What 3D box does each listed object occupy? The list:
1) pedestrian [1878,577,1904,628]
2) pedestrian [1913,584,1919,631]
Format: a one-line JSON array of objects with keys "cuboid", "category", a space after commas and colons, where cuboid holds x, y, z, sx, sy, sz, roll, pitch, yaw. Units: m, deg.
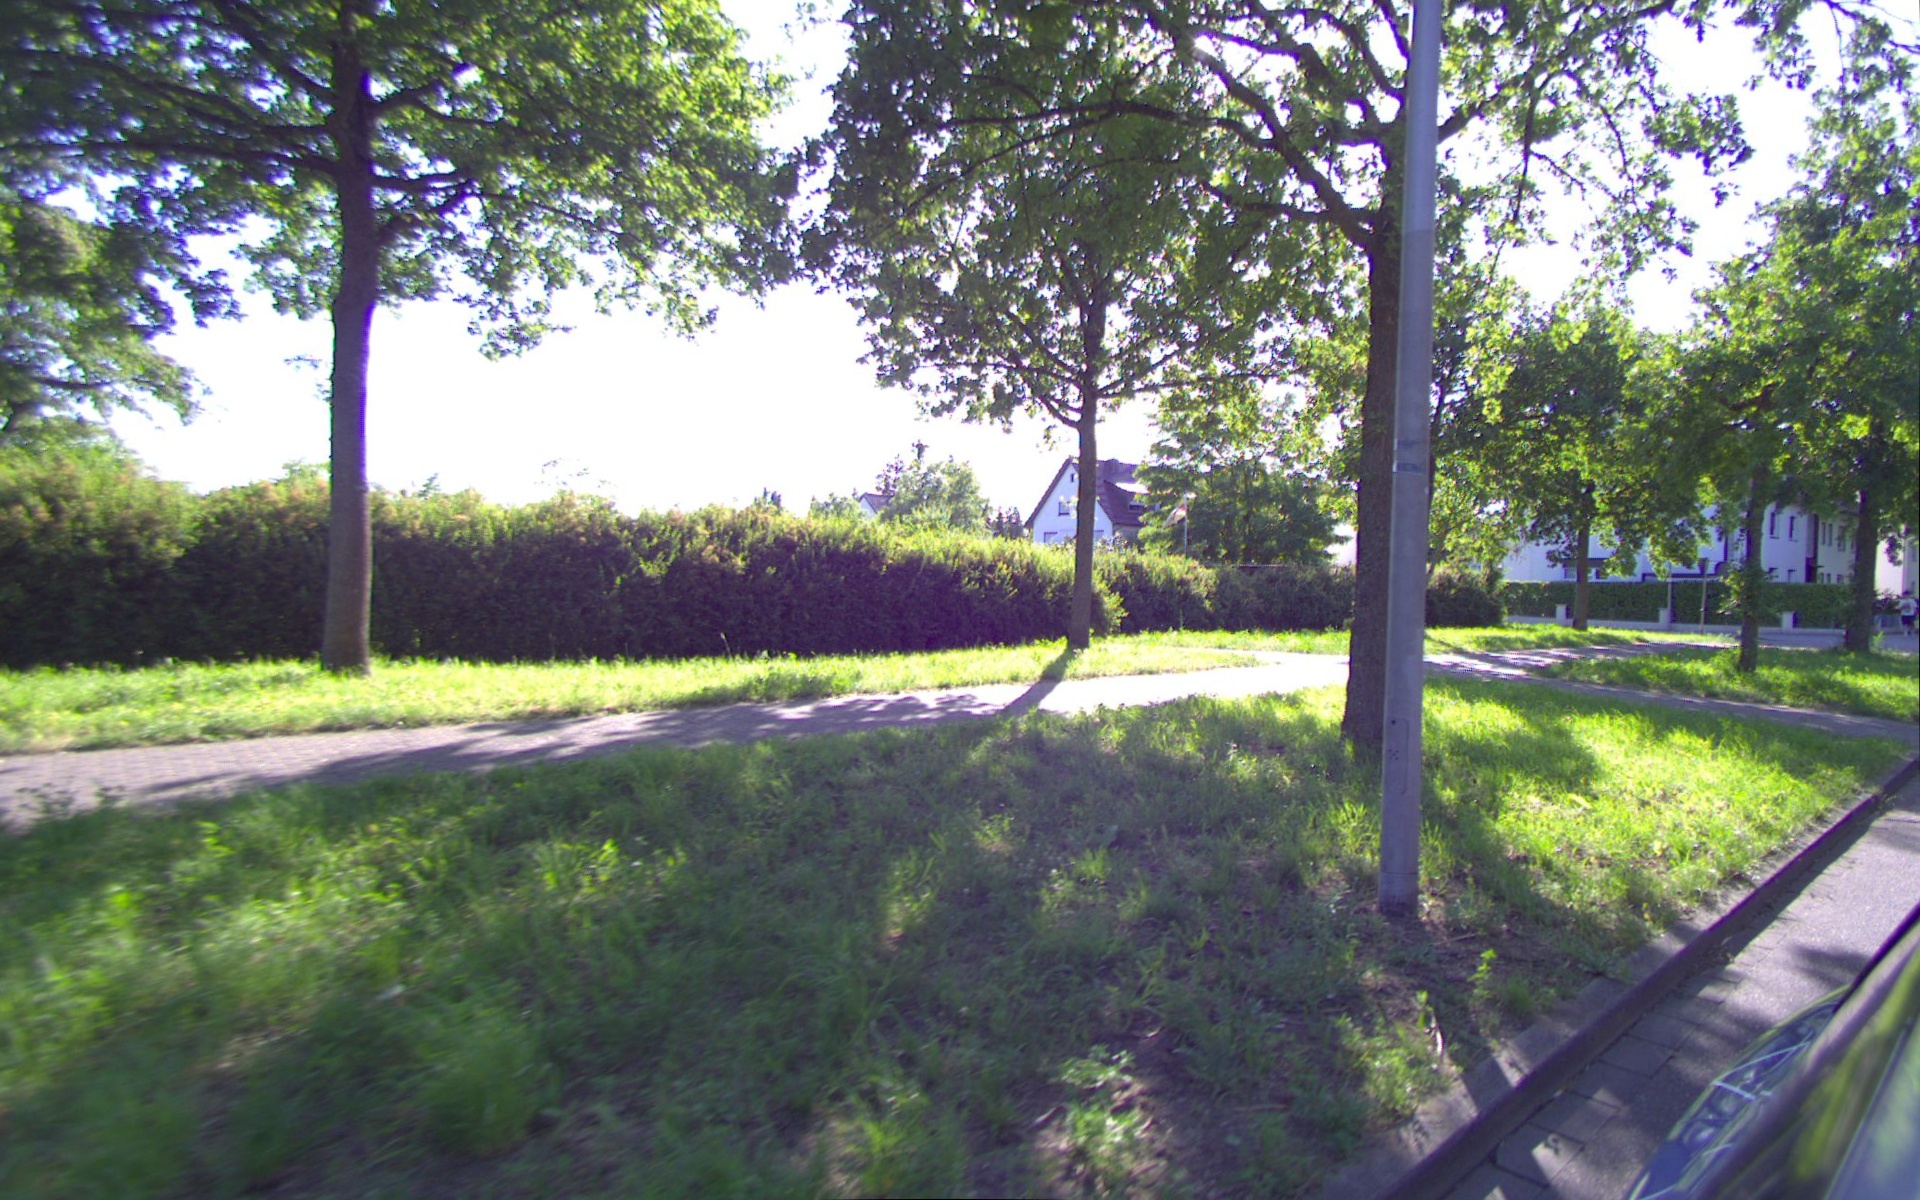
[{"cuboid": [38.319, 0.106, 41.644, 0.819, 2.038, 0.610, 1, 1, -39], "category": "pedestrian"}, {"cuboid": [38.876, 0.298, 40.701, 0.853, 1.889, 0.665, 1, 1, -39], "category": "pedestrian"}]
